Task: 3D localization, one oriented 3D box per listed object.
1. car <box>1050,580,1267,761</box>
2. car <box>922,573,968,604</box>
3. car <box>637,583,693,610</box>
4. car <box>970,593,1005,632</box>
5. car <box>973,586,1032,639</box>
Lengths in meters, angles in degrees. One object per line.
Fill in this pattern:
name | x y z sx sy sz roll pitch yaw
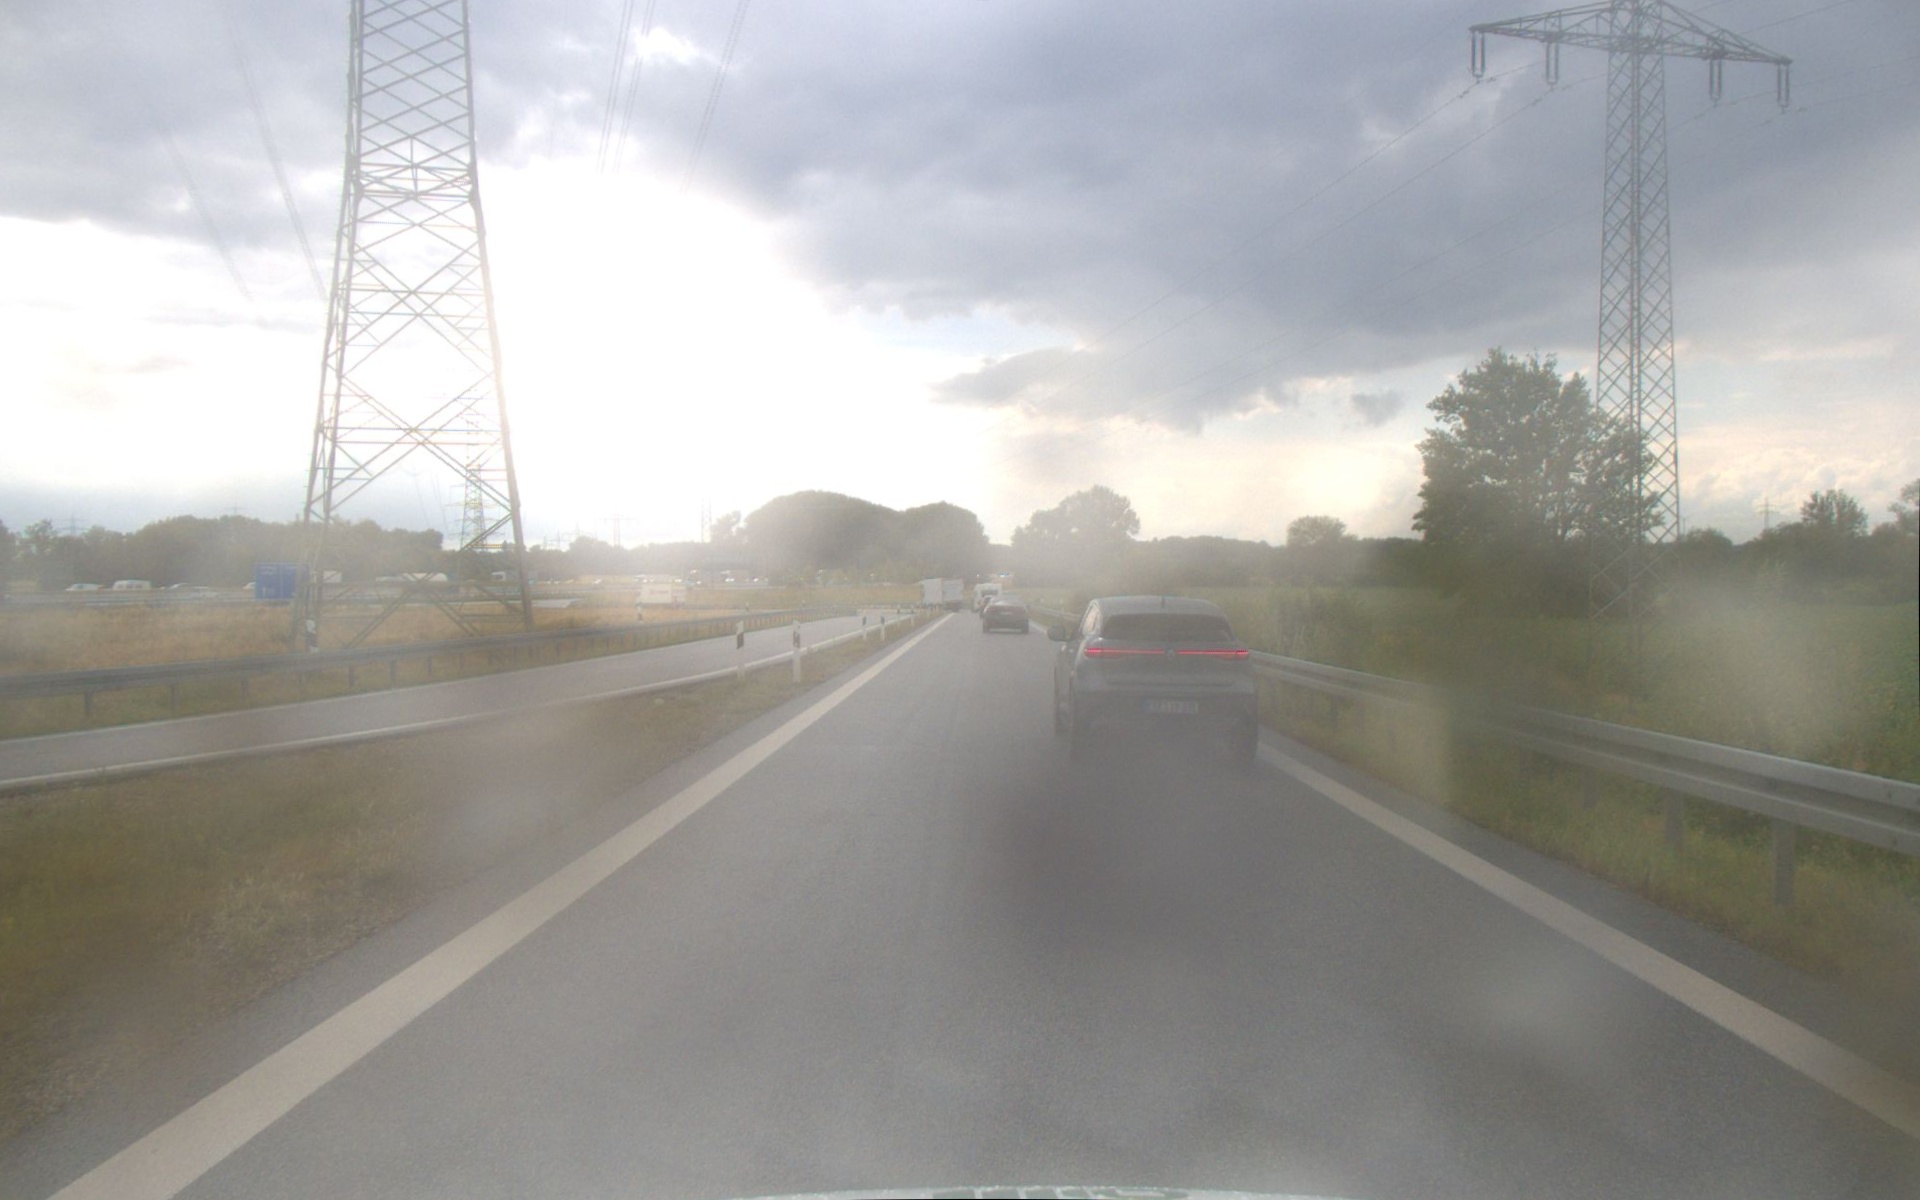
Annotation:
car | 1.921 0.614 17.170 1.952 1.594 4.151 1 1 3
car | -1.657 -1.272 177.900 3.087 3.002 7.175 -1 3 -17
car | -41.336 -0.519 231.264 3.368 3.673 8.898 -1 0 -44
car | 1.834 0.803 110.960 2.303 2.346 5.130 0 3 0
car | 1.715 0.483 68.411 2.078 2.053 5.532 -1 1 -2
